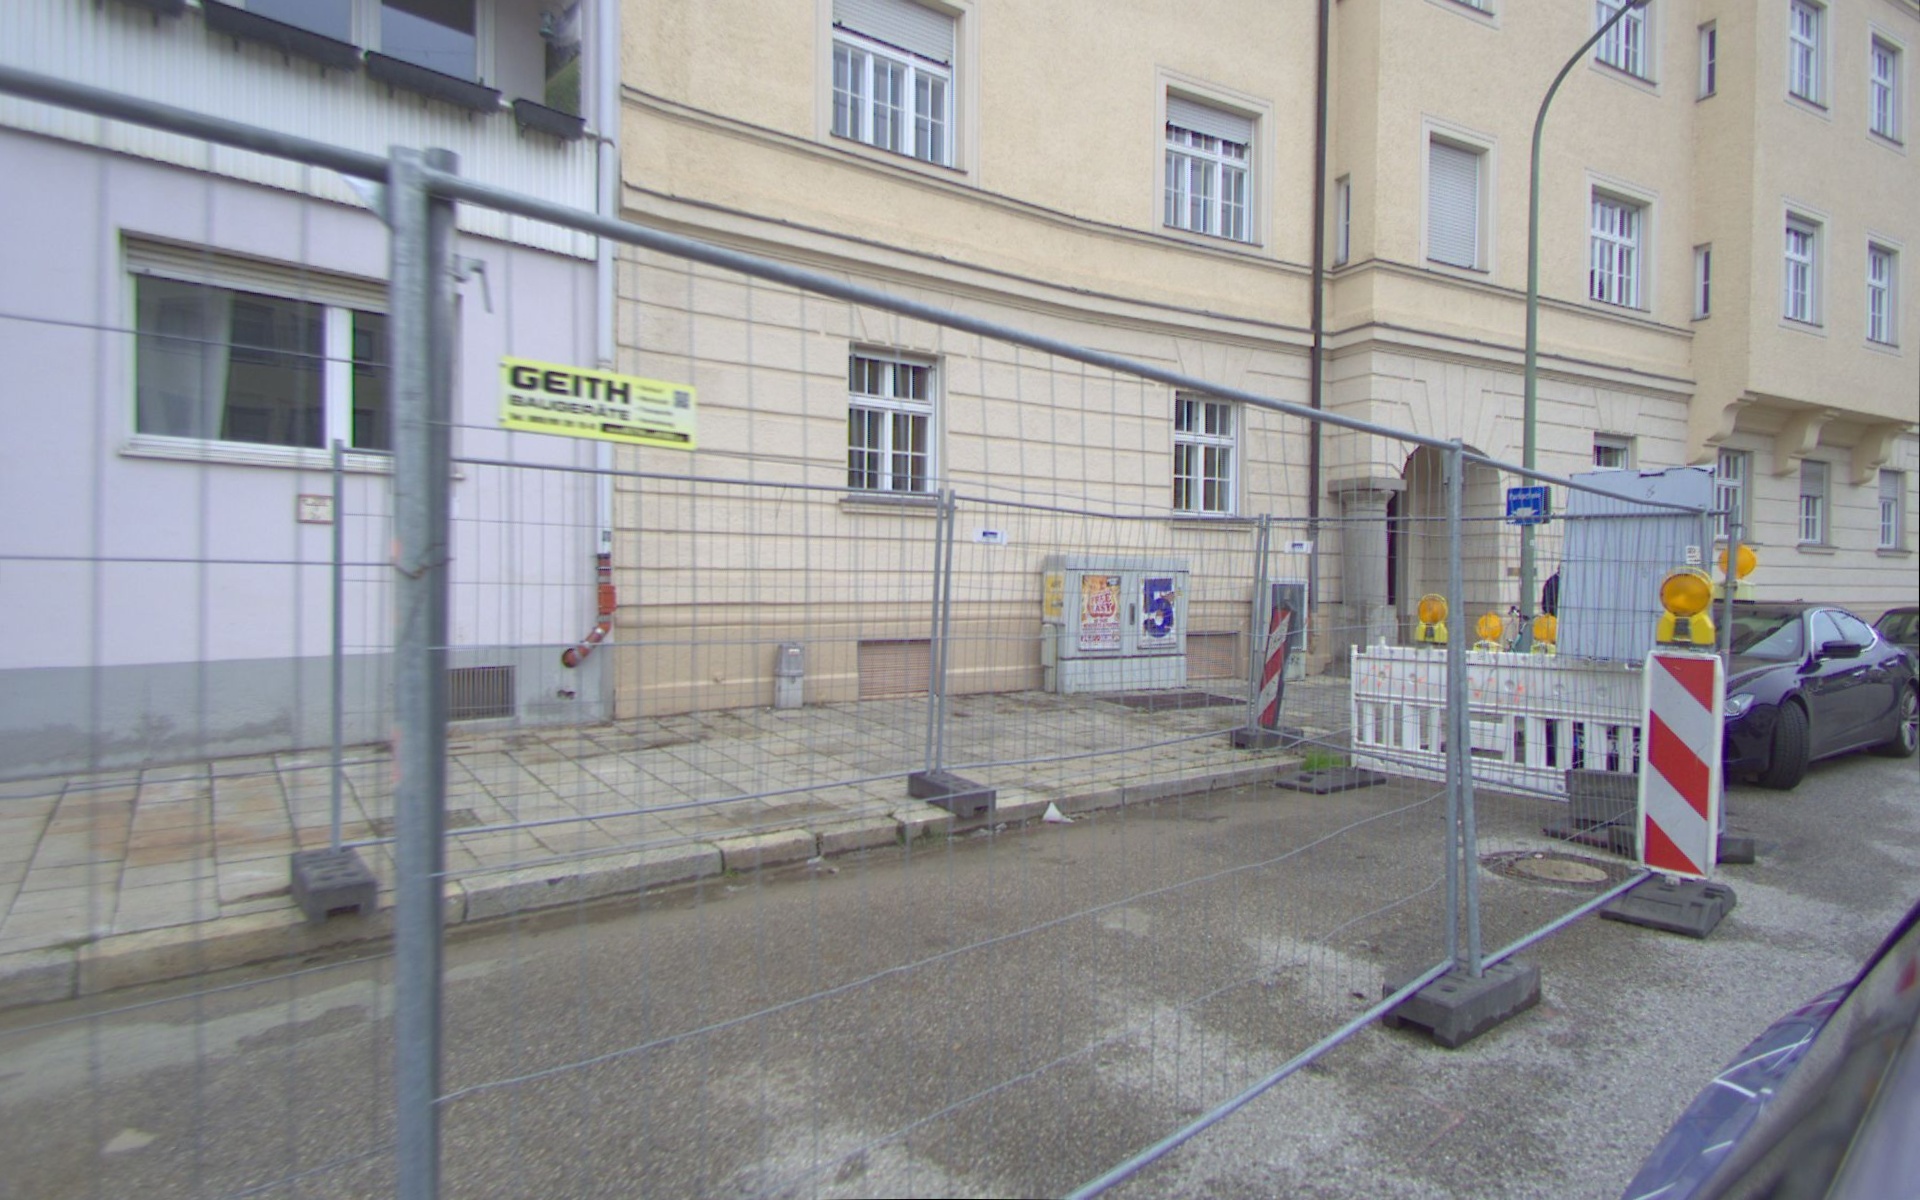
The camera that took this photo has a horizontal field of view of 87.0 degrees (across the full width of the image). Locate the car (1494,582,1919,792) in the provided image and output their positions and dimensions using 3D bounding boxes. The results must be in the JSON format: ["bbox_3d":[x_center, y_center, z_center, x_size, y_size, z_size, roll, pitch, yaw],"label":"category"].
[{"bbox_3d":[7.236,0.625,9.299,4.848,1.496,1.916,0,0,-32],"label":"car"}]

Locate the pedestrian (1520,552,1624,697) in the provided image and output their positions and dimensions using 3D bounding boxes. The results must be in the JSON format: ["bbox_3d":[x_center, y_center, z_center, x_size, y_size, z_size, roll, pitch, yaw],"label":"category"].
[{"bbox_3d":[7.600,0.279,12.577,0.900,1.710,0.620,0,4,-27],"label":"pedestrian"}]

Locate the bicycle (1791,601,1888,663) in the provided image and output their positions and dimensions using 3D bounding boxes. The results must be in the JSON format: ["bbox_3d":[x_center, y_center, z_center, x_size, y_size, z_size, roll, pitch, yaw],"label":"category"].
[{"bbox_3d":[16.187,0.567,18.621,2.093,1.061,0.504,0,4,-26],"label":"bicycle"}]

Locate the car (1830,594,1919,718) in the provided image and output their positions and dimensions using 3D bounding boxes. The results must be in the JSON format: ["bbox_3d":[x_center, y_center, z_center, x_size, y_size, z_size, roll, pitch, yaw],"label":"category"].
[{"bbox_3d":[12.685,0.659,12.674,3.606,1.435,1.638,0,0,-30],"label":"car"}]

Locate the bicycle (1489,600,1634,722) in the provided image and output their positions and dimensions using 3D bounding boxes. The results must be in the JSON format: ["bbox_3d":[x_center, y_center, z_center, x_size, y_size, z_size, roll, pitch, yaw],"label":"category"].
[{"bbox_3d":[6.764,0.641,11.368,1.637,1.274,0.639,0,1,-29],"label":"bicycle"}]
